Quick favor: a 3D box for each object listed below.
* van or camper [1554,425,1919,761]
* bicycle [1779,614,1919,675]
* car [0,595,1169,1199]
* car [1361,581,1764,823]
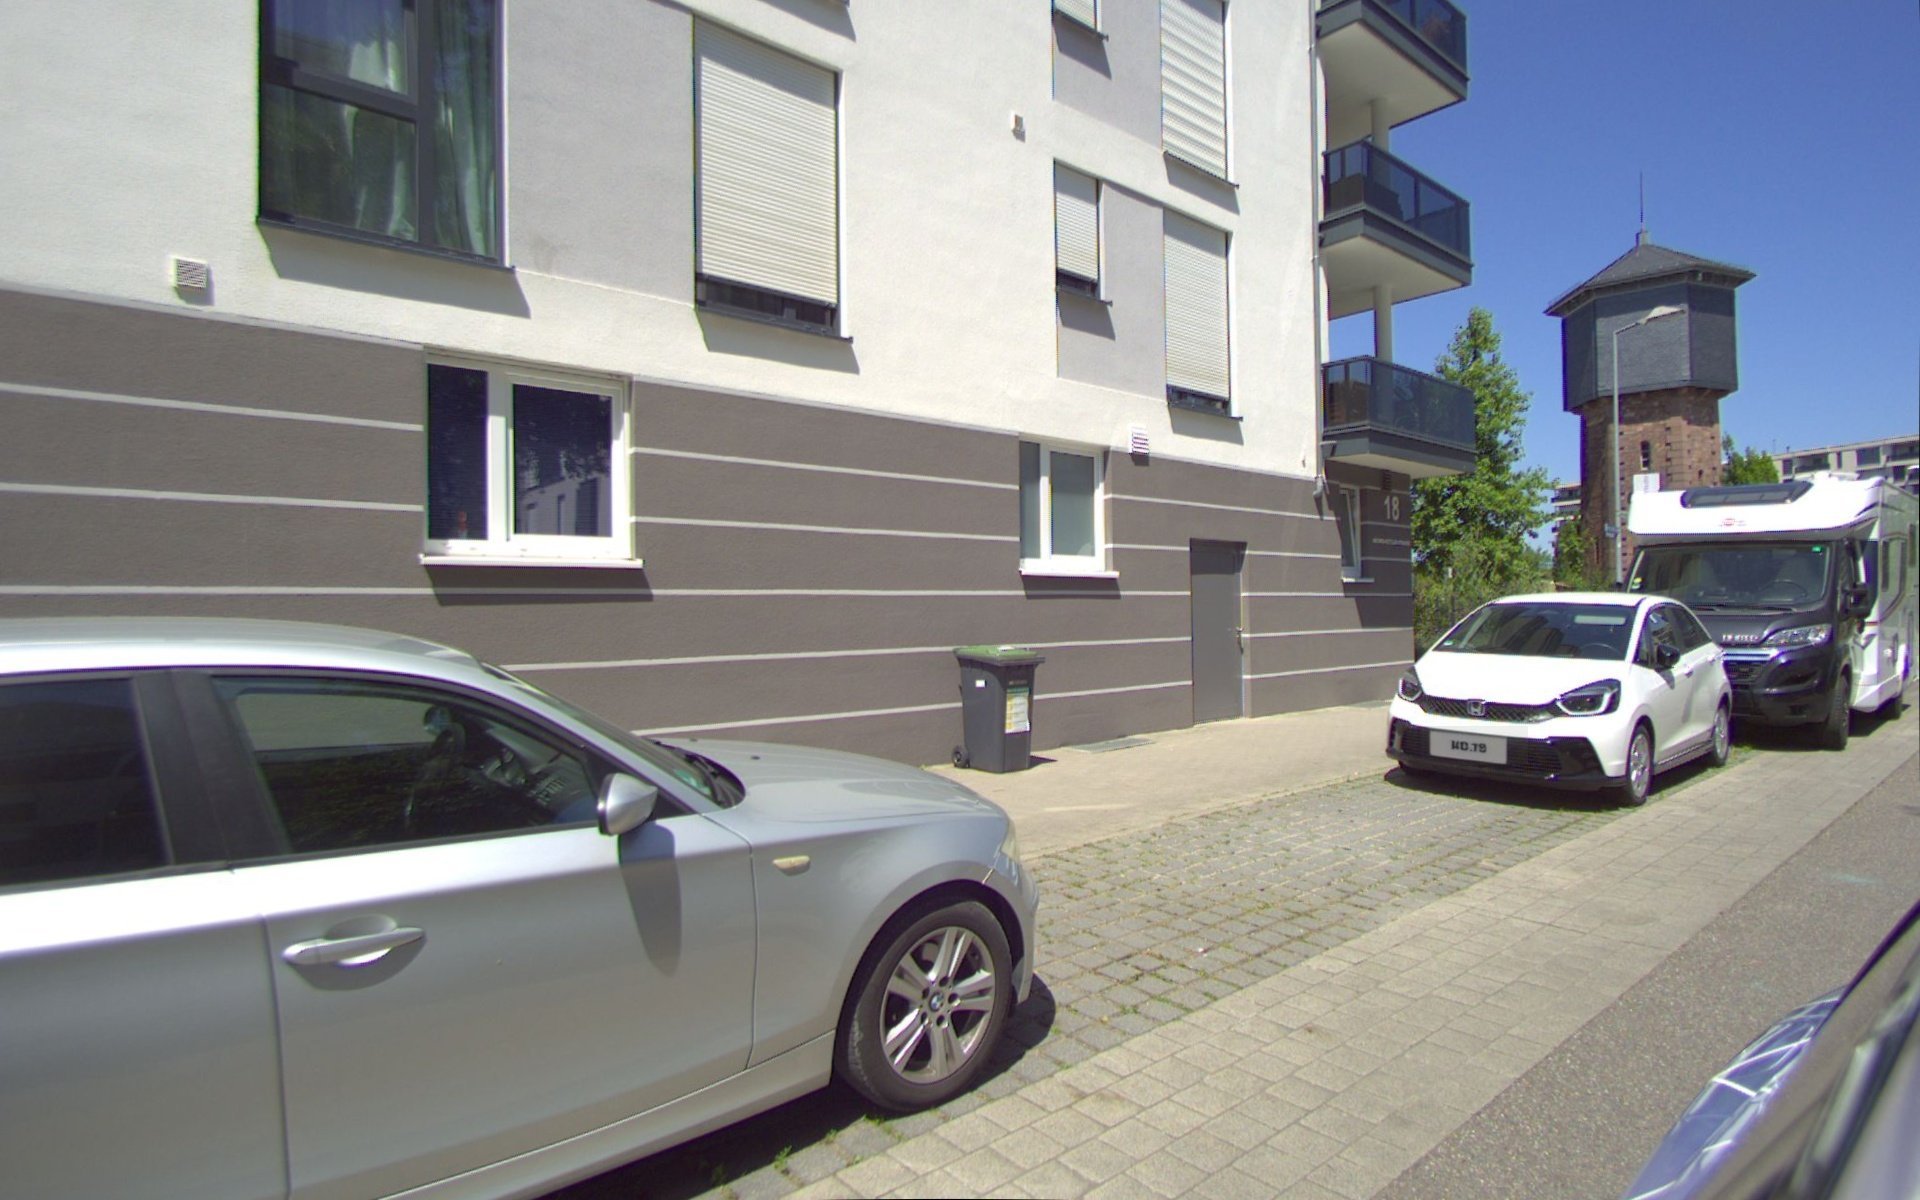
[{"bbox_3d":[10.004,-0.096,12.350,7.693,2.943,2.441,-1,-1,-42],"label":"van or camper"},{"bbox_3d":[16.117,0.776,18.272,2.022,1.016,0.863,0,0,38],"label":"bicycle"},{"bbox_3d":[-1.557,0.743,2.743,4.347,1.434,1.849,-1,-1,-40],"label":"car"},{"bbox_3d":[5.195,0.620,8.472,4.189,1.524,1.809,-1,1,-43],"label":"car"}]
